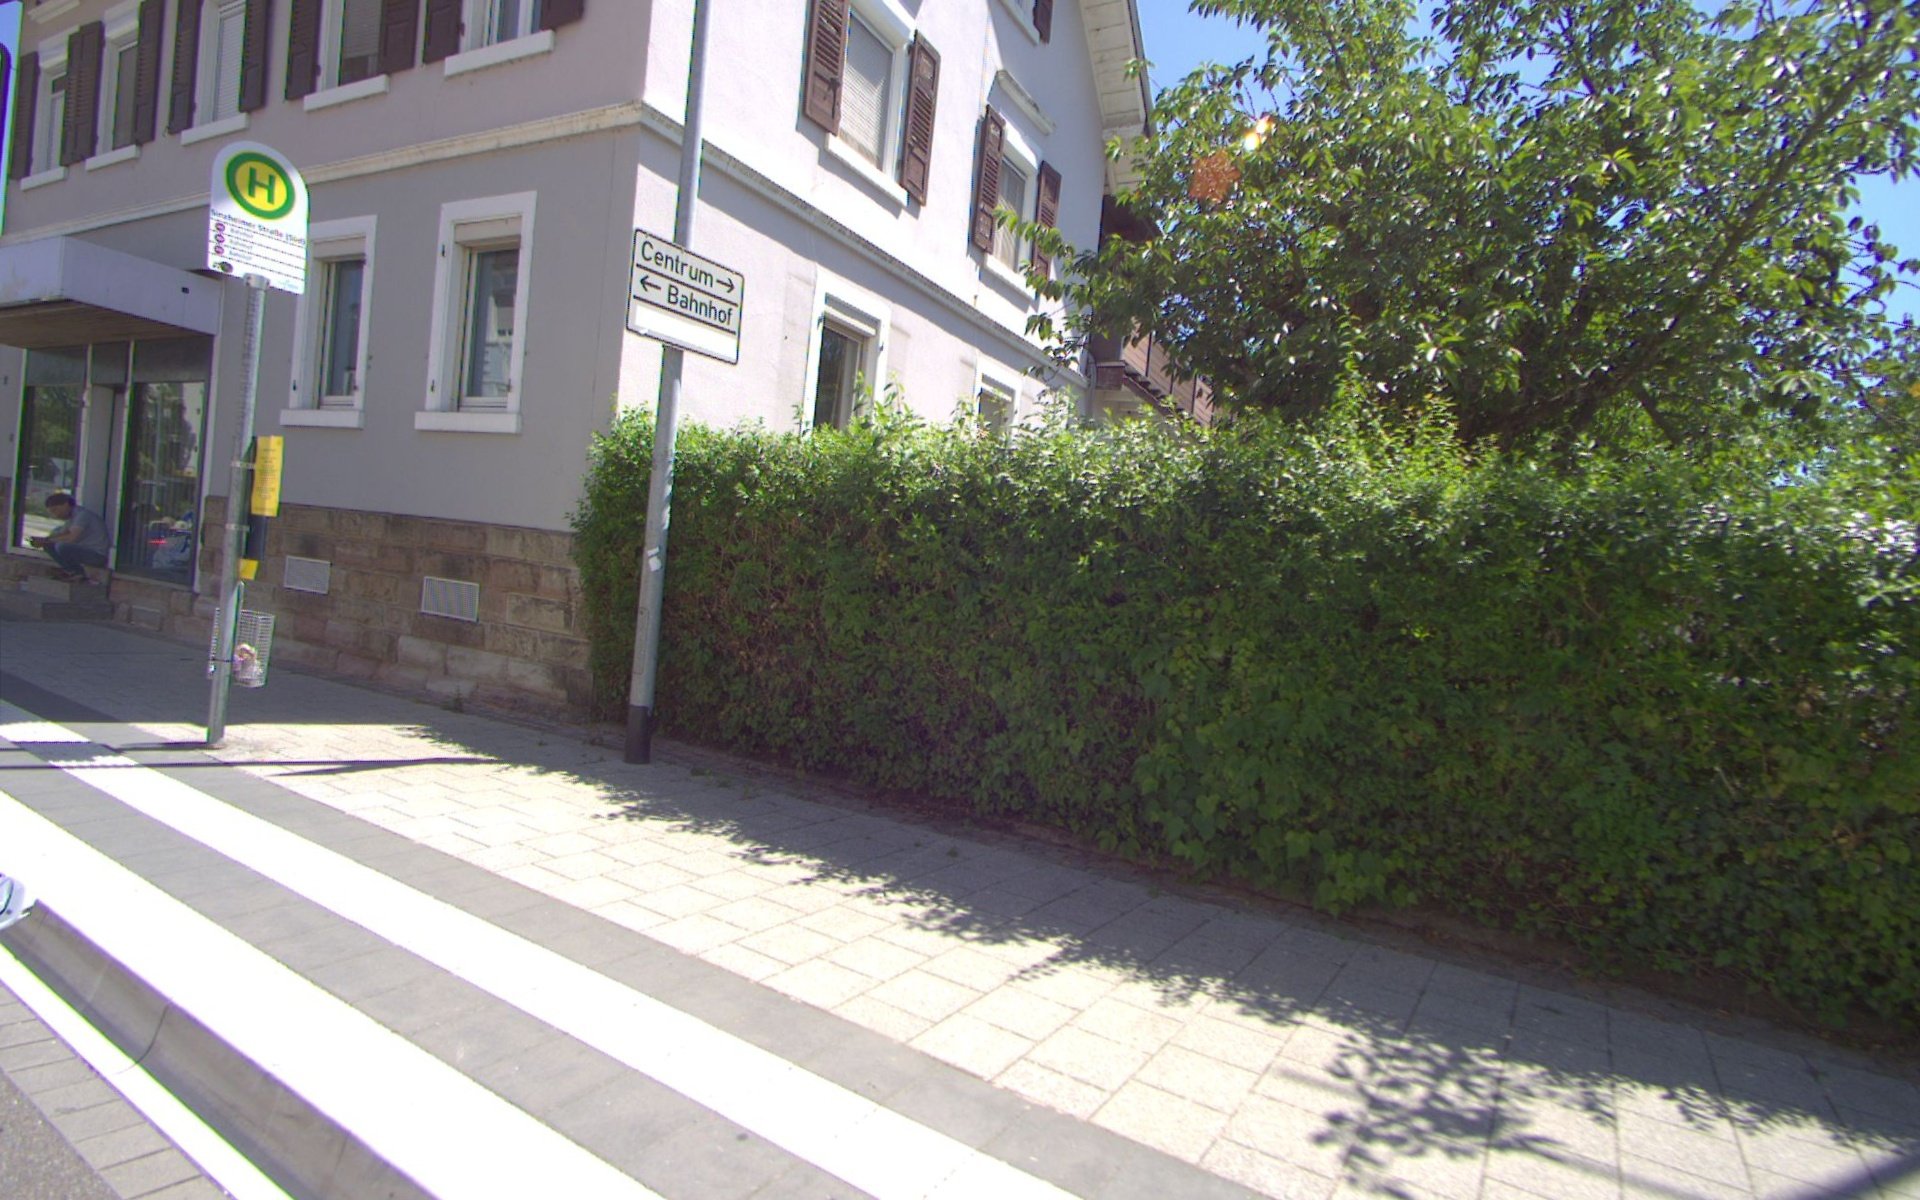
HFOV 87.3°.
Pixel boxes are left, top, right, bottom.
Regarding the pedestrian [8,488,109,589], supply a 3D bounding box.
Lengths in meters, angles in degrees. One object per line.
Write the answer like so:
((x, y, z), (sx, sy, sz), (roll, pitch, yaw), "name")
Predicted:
((-9.915, -0.676, 11.066), (0.711, 1.013, 0.590), (7, 2, 29), "pedestrian")
